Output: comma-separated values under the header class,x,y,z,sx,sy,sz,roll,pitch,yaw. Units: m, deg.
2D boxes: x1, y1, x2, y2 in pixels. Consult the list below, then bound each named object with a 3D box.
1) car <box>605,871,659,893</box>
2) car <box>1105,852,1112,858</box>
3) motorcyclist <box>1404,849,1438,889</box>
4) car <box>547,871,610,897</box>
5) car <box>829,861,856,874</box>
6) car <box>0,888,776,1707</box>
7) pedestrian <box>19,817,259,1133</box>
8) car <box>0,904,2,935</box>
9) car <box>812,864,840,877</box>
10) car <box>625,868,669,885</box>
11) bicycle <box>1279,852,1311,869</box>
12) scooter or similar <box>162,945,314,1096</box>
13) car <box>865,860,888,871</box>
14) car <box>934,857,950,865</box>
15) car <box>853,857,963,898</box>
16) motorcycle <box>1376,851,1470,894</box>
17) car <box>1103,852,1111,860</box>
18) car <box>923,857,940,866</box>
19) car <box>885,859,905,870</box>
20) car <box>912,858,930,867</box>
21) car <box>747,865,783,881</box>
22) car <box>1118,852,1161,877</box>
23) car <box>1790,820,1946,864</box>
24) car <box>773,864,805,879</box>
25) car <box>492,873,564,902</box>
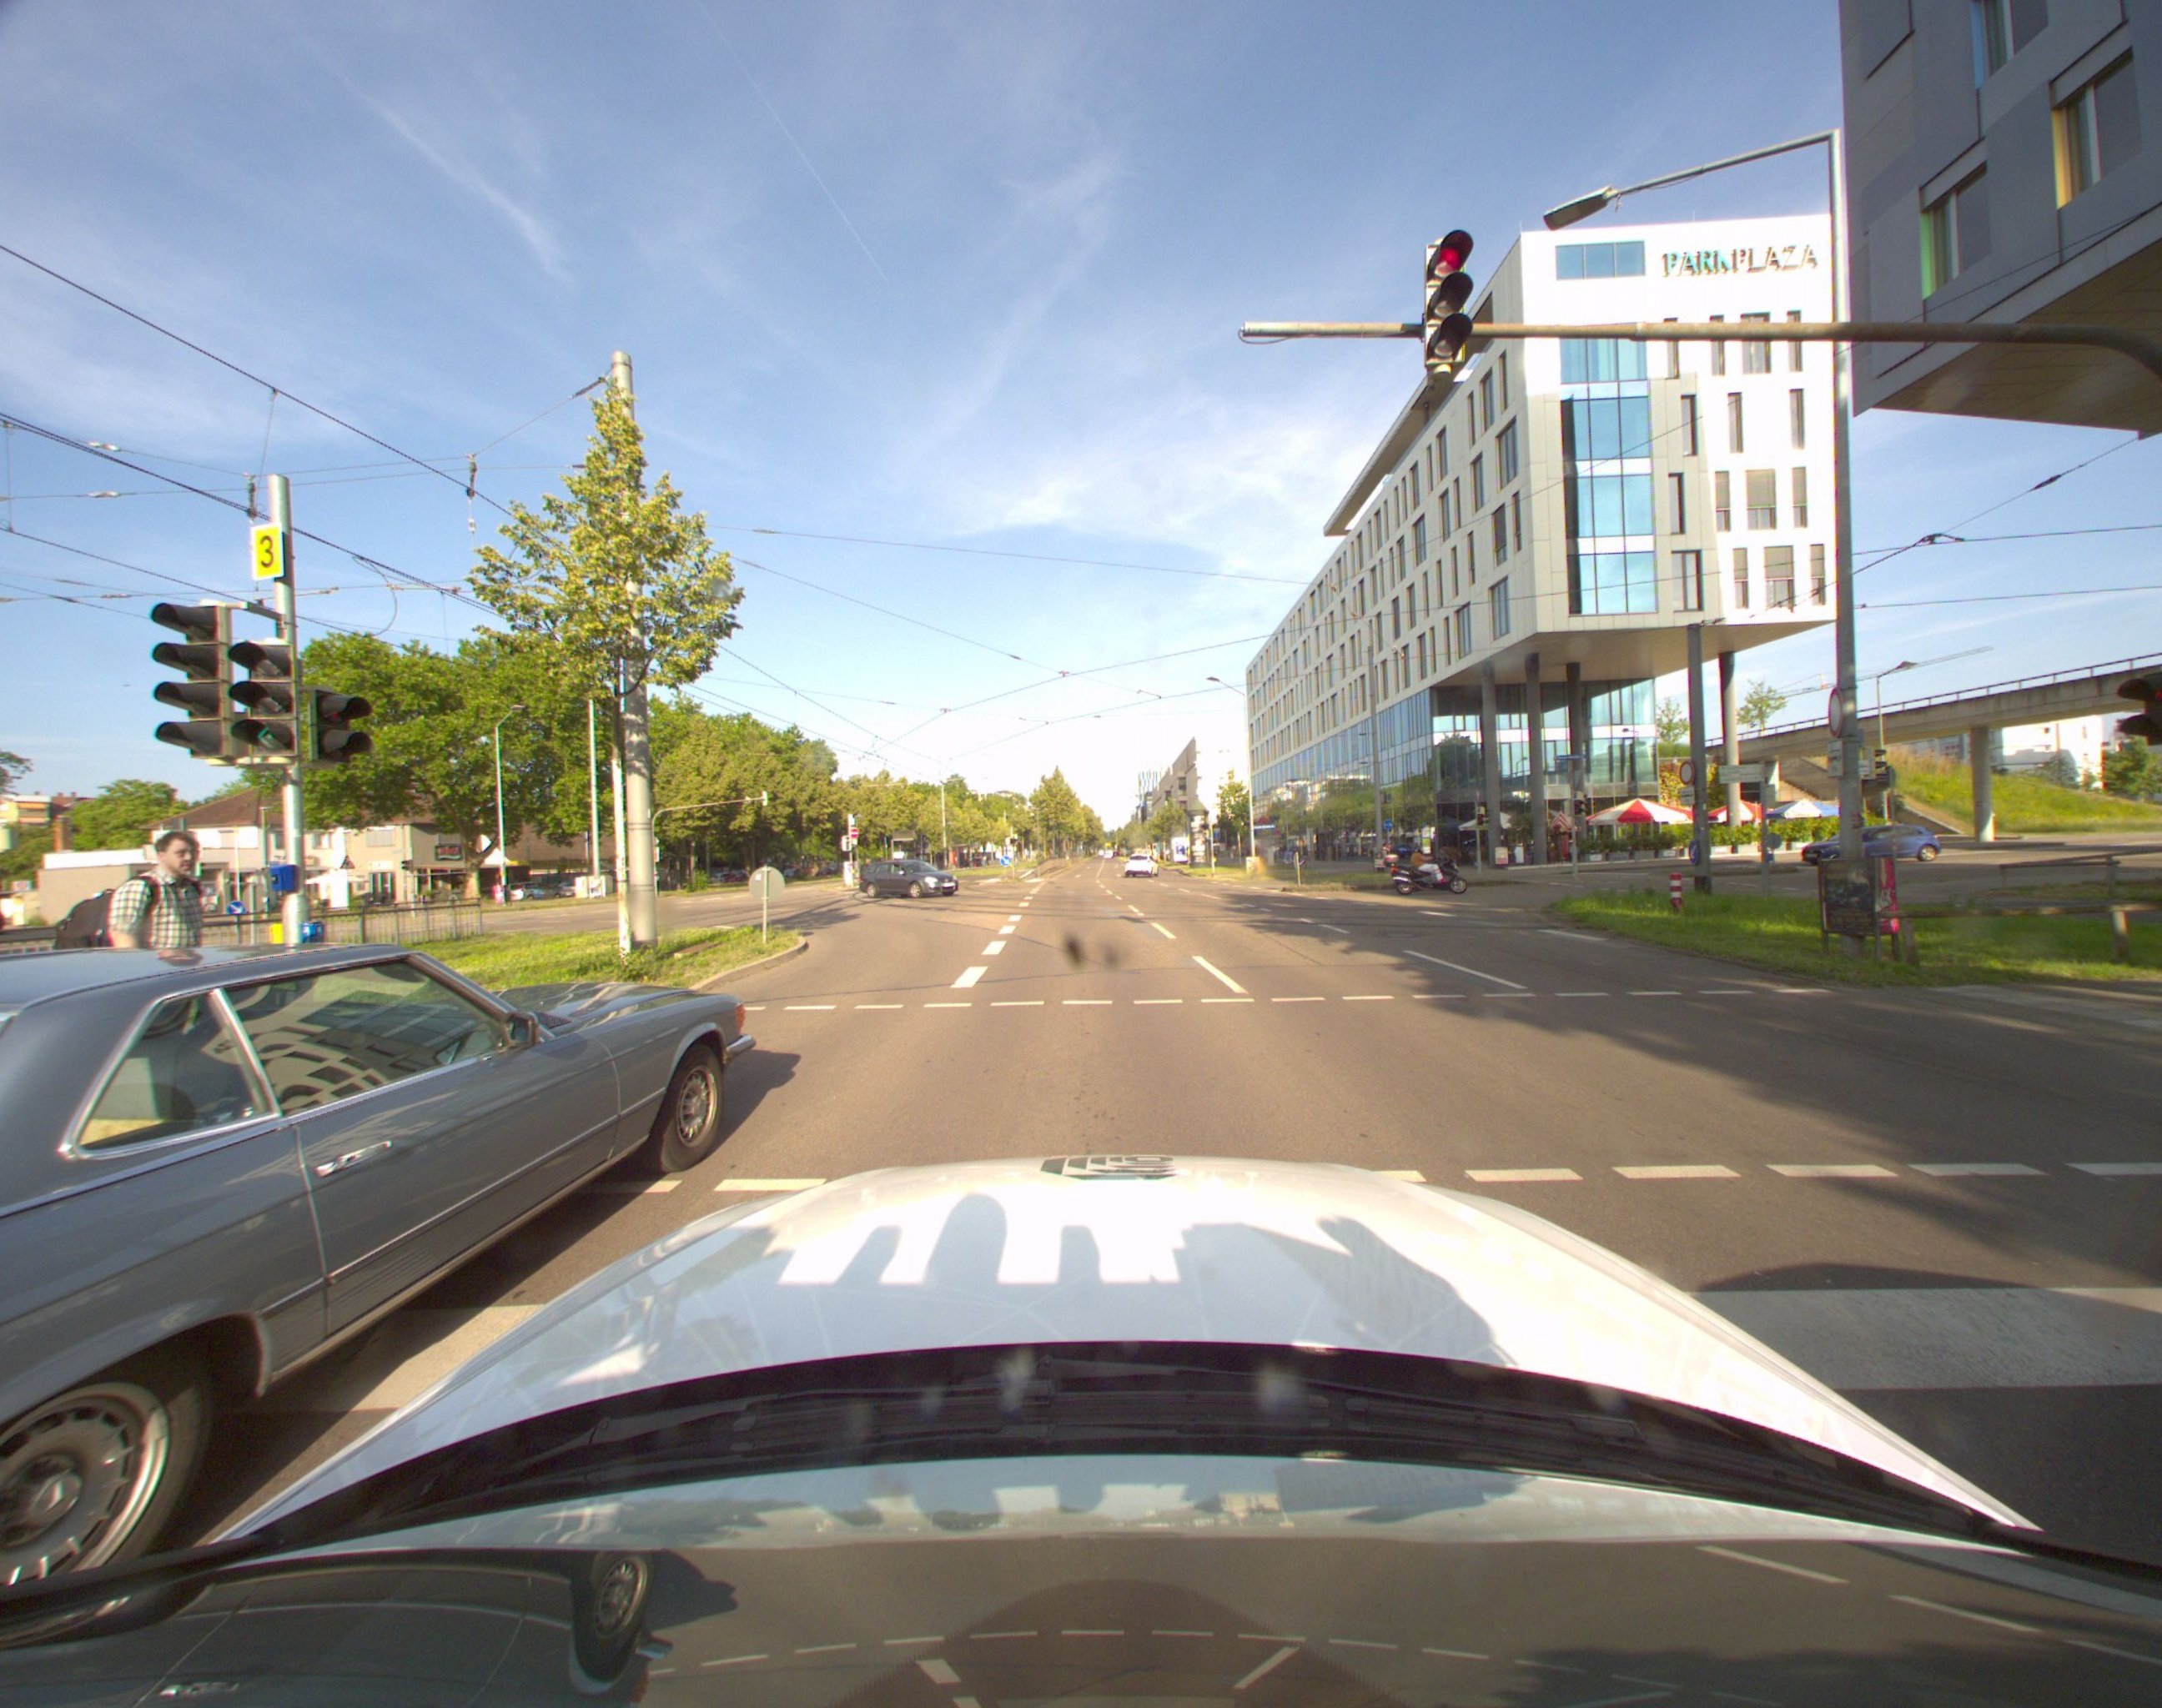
class,x,y,z,sx,sy,sz,roll,pitch,yaw
car,-37.017,2.281,67.235,1.871,1.559,4.008,-3,0,7
car,7.436,0.266,220.254,1.857,1.684,4.003,0,1,2
motorcyclist,10.443,0.454,25.042,0.839,1.202,0.787,0,0,10
car,-37.707,2.250,61.193,1.871,1.750,4.008,-3,0,7
car,-32.093,1.787,109.648,1.871,1.559,4.008,-3,0,7
car,-2.755,0.901,2.670,1.757,1.330,4.401,-1,1,1
pedestrian,-5.682,0.687,4.952,0.697,1.792,0.636,-1,0,2
car,-63.527,3.800,45.633,3.964,1.728,2.005,-2,0,8
car,-32.763,2.097,104.579,1.871,1.559,4.008,-3,0,7
car,-43.776,2.227,82.152,1.871,1.559,4.008,-3,0,7
bicycle,13.848,0.402,52.774,0.778,1.032,1.856,-2,2,-42
scooter or similar,-5.665,1.103,5.493,0.546,0.907,0.430,-2,0,2
car,-30.660,1.744,122.104,1.871,1.559,4.008,-3,0,7
car,-26.782,1.348,156.806,1.871,1.559,4.008,-3,0,7
car,-6.711,0.894,31.312,4.516,1.461,1.745,-1,-1,40
motorcycle,10.493,0.579,25.053,2.525,1.263,0.823,-1,0,10
car,6.149,0.458,189.550,1.857,1.684,4.003,0,1,2
car,-27.534,1.416,150.396,1.871,1.559,4.008,-3,0,7
car,-29.695,1.658,130.009,1.871,1.559,4.008,-3,0,7
car,-28.428,1.483,144.404,1.871,1.559,4.008,-3,0,7
car,-34.741,2.046,89.591,1.871,1.559,4.008,-3,0,7
car,3.814,0.683,52.255,1.979,1.504,4.109,-1,-1,15
car,30.236,-0.464,31.368,4.170,1.424,1.859,-3,0,1
car,-34.051,2.072,95.150,1.871,1.559,4.008,-3,0,7
car,-38.225,2.300,56.442,1.871,1.750,4.008,-3,0,7
